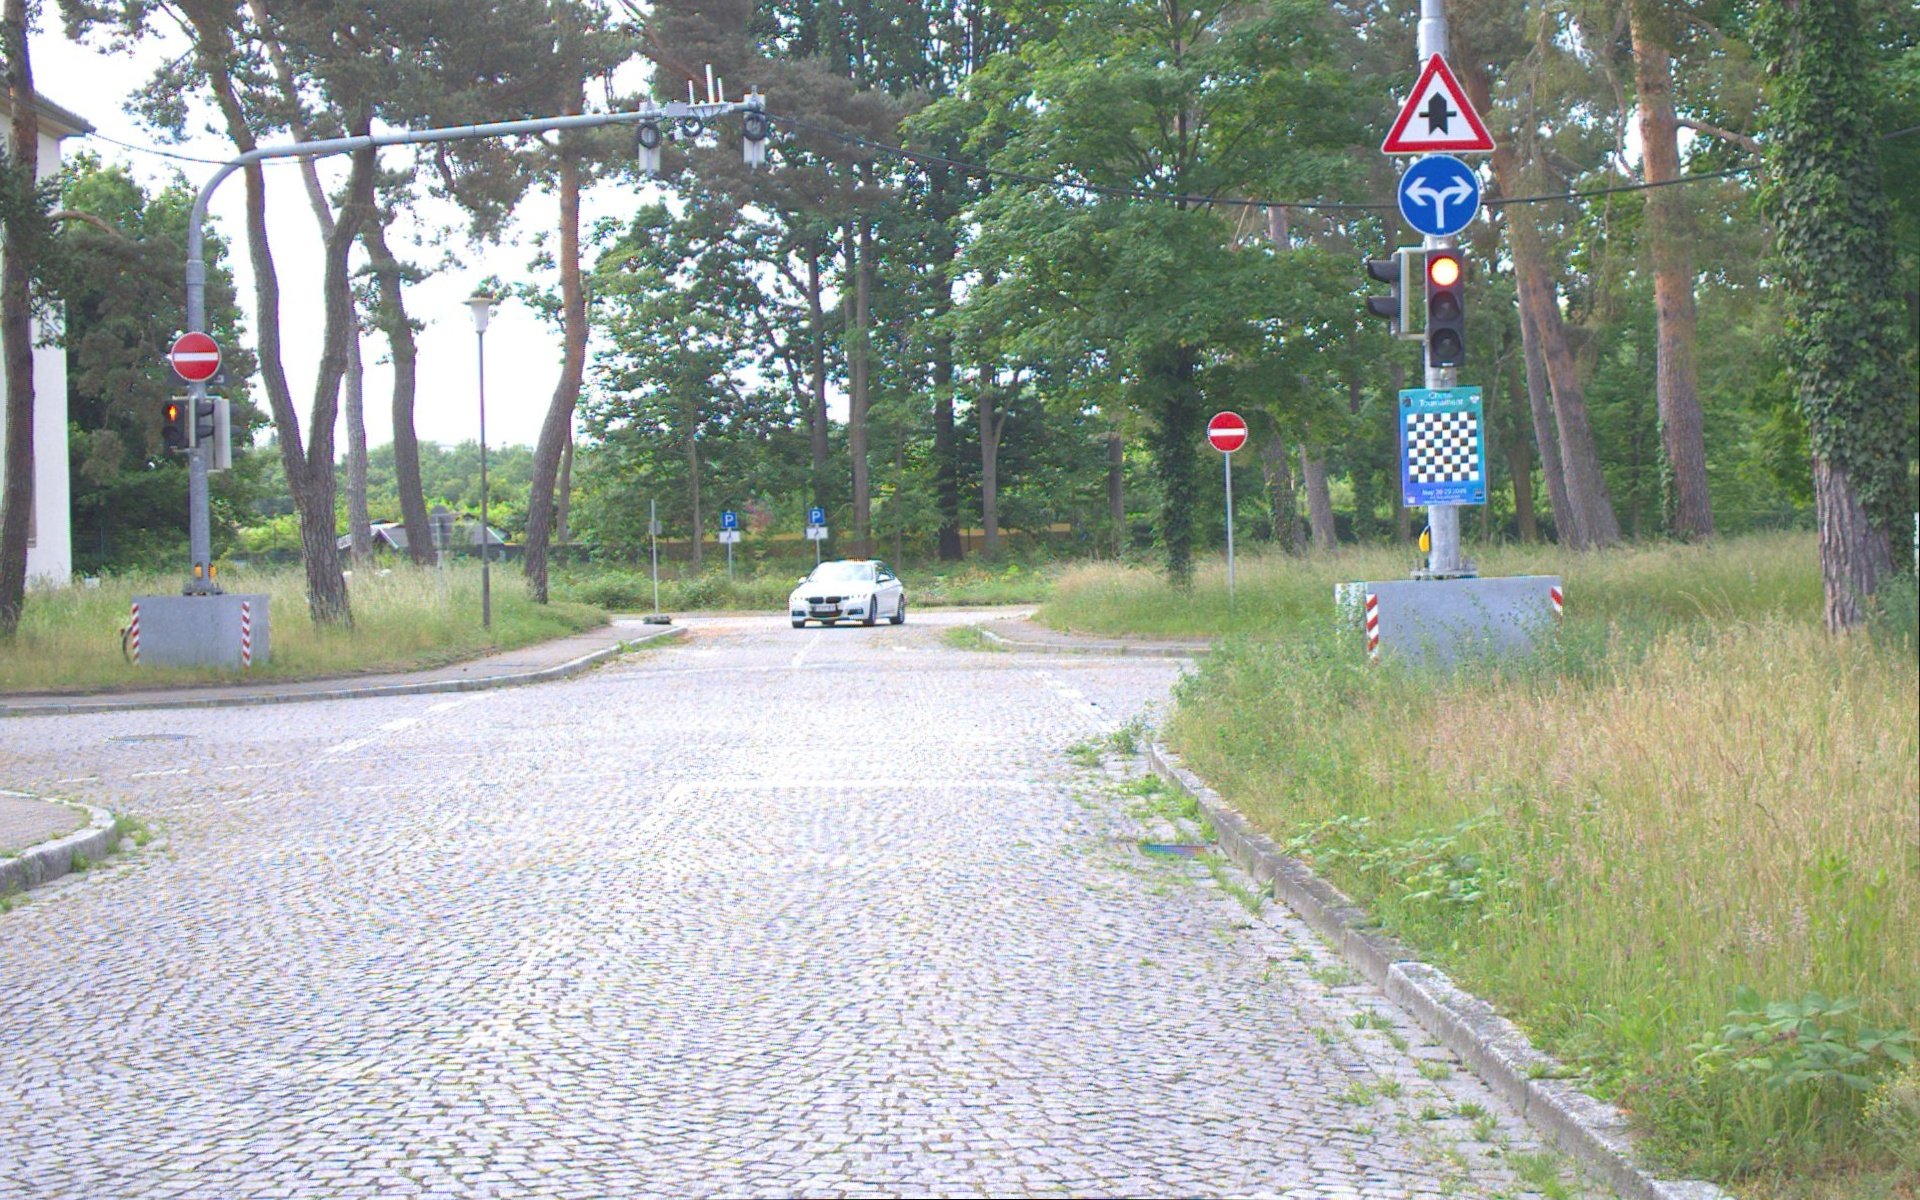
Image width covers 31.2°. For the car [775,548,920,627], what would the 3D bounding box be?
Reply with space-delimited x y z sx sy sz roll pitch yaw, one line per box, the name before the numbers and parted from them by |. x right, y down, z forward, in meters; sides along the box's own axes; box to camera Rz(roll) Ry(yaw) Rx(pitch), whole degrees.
car | -2.383 -0.293 73.996 1.775 1.433 4.215 -4 1 17
